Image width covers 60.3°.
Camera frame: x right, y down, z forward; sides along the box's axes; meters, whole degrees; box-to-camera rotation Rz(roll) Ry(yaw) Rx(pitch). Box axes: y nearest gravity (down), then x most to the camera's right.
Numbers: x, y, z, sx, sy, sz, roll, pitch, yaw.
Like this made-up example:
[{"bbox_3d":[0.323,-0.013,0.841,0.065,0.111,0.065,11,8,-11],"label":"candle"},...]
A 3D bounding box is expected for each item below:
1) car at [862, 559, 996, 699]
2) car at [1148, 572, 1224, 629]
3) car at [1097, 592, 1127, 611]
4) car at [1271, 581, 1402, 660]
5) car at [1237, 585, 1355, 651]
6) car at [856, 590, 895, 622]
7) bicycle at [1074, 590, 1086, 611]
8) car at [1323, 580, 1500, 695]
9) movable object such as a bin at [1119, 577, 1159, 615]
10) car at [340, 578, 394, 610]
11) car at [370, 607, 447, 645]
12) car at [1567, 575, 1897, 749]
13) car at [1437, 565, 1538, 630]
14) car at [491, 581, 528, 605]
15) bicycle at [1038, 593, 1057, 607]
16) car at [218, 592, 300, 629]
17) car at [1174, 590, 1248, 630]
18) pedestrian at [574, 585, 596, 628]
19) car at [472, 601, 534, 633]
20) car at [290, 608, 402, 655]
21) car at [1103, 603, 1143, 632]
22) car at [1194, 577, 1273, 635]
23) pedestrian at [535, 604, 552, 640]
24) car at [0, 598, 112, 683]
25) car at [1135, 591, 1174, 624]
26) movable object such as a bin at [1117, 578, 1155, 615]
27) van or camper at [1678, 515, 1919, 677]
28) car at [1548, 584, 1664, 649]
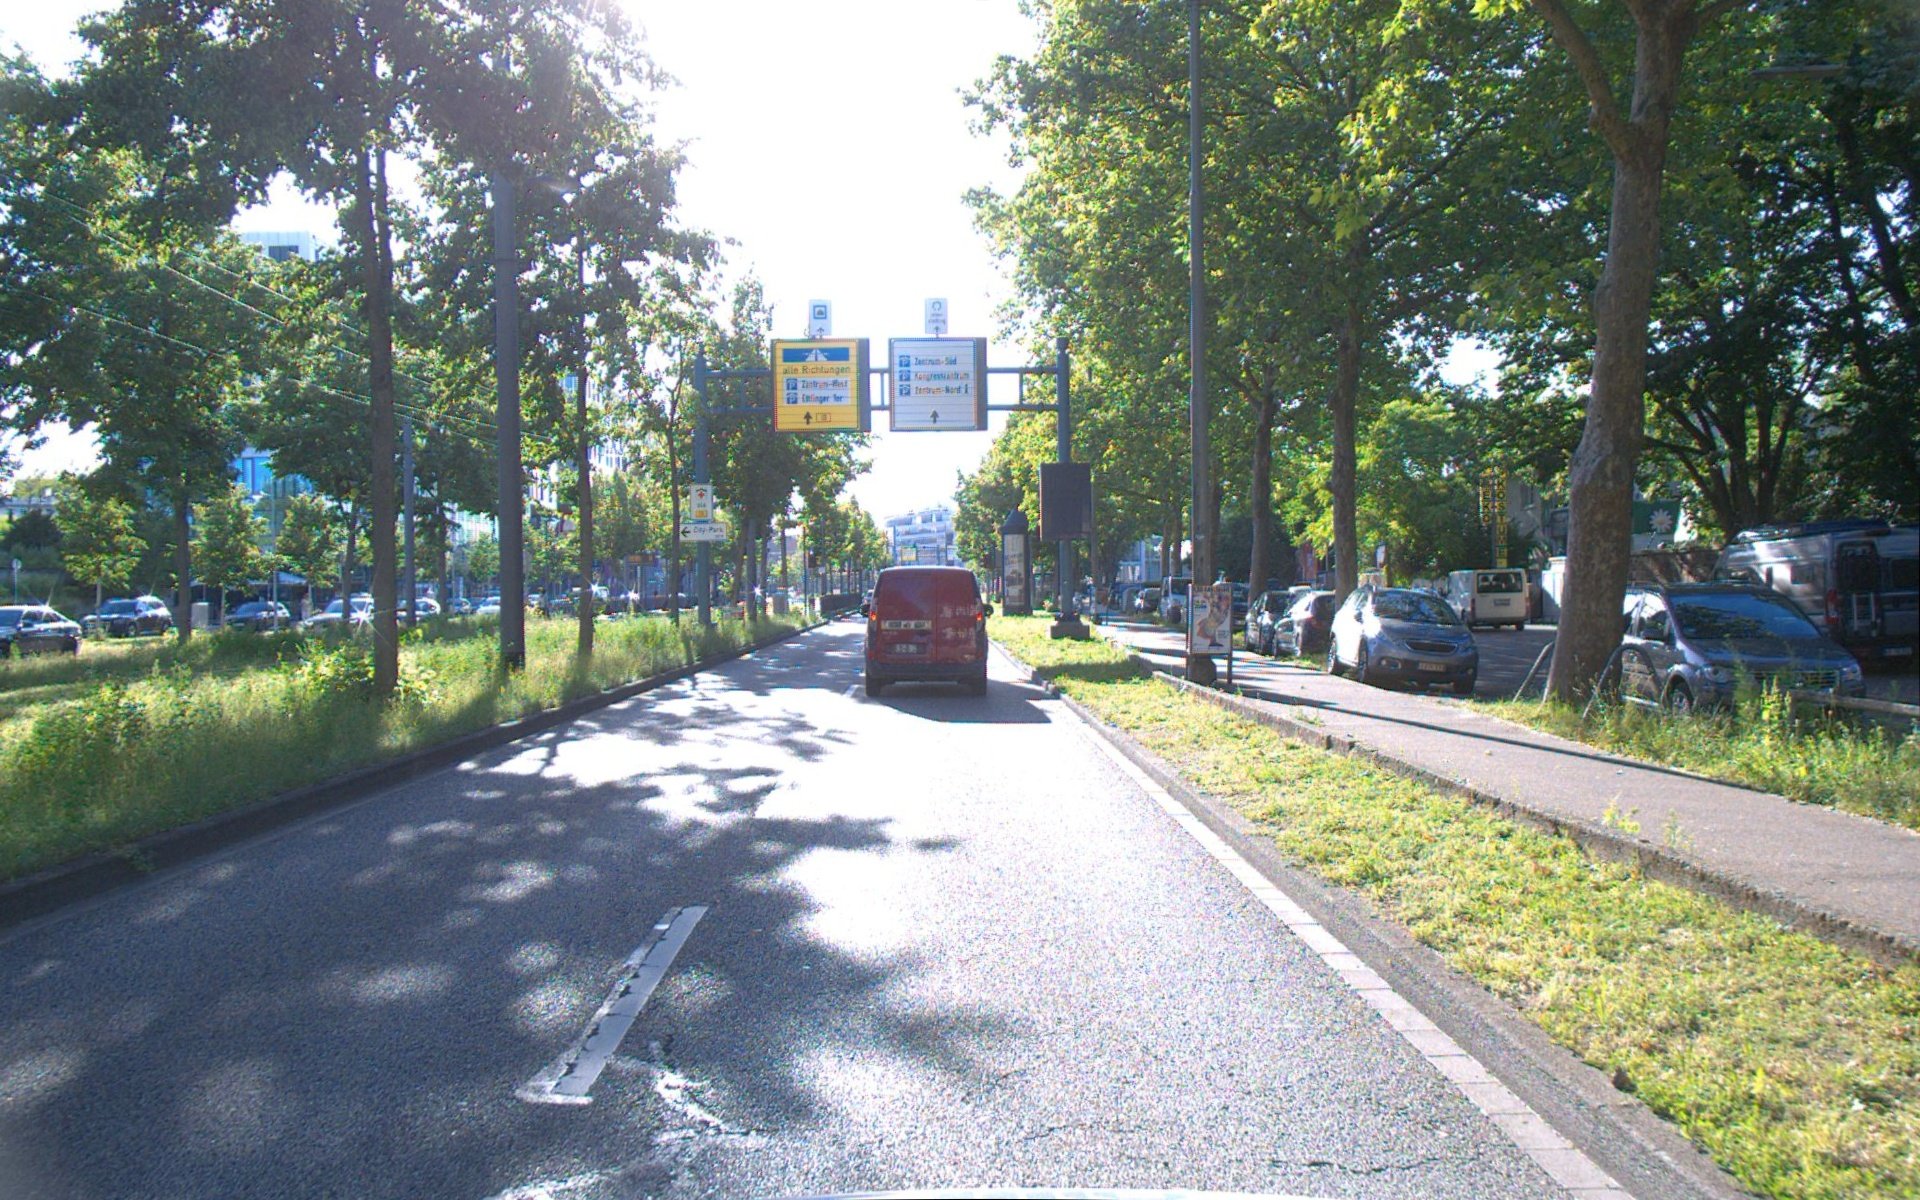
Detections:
[{"bbox_3d":[-0.534,0.406,24.487,1.773,1.870,3.997,1,0,-4],"label":"car"},{"bbox_3d":[8.661,0.035,63.754,2.145,2.049,5.820,1,0,0],"label":"car"},{"bbox_3d":[11.358,0.132,123.967,1.833,1.391,3.999,1,0,-1],"label":"car"},{"bbox_3d":[7.418,0.396,32.929,1.756,1.463,3.884,1,0,1],"label":"car"},{"bbox_3d":[7.829,0.404,38.971,1.952,1.405,4.678,2,0,2],"label":"car"},{"bbox_3d":[-4.585,0.322,90.381,1.953,1.646,3.999,1,0,-1],"label":"car"},{"bbox_3d":[6.182,0.038,85.340,0.483,1.065,1.904,1,0,1],"label":"bicycle"},{"bbox_3d":[7.011,0.554,26.085,1.756,1.587,4.021,3,0,2],"label":"car"},{"bbox_3d":[9.926,-0.232,91.893,2.038,2.049,2.137,1,0,3],"label":"movable object such as a bin"},{"bbox_3d":[-40.444,-0.382,112.876,1.953,2.049,4.563,1,0,0],"label":"car"},{"bbox_3d":[-23.871,1.090,71.706,1.953,1.554,4.318,1,0,-1],"label":"car"},{"bbox_3d":[8.376,0.617,18.441,1.755,1.663,4.628,1,0,4],"label":"car"},{"bbox_3d":[17.417,-0.089,54.878,2.043,2.049,4.945,0,0,4],"label":"car"},{"bbox_3d":[-39.704,-0.564,145.854,1.953,2.049,4.563,1,0,0],"label":"car"},{"bbox_3d":[8.455,0.014,160.014,1.878,1.290,0.479,0,0,0],"label":"bicycle"},{"bbox_3d":[-32.528,0.447,76.873,1.841,1.649,4.611,0,0,0],"label":"car"},{"bbox_3d":[8.683,0.356,57.528,1.952,1.312,4.052,1,0,0],"label":"car"},{"bbox_3d":[-16.503,0.282,72.830,0.804,1.868,0.726,1,-1,-4],"label":"pedestrian"},{"bbox_3d":[-23.913,0.888,86.687,1.952,1.599,4.167,-1,0,2],"label":"car"},{"bbox_3d":[-20.303,1.015,54.909,1.952,1.466,4.456,1,0,1],"label":"car"},{"bbox_3d":[8.364,0.902,85.207,1.957,1.408,4.747,1,0,5],"label":"car"},{"bbox_3d":[8.259,0.179,50.242,1.701,1.670,4.352,1,0,0],"label":"car"},{"bbox_3d":[-17.941,0.954,71.284,0.538,1.545,0.589,1,-1,4],"label":"pedestrian"},{"bbox_3d":[-22.489,0.908,39.396,1.953,1.873,5.249,0,0,-1],"label":"car"},{"bbox_3d":[9.550,0.372,81.198,1.627,1.527,2.989,1,0,2],"label":"car"},{"bbox_3d":[10.047,-0.206,94.658,2.038,2.049,2.137,1,0,3],"label":"movable object such as a bin"},{"bbox_3d":[16.401,-0.117,31.913,2.503,2.731,6.568,-3,0,4],"label":"van or camper"},{"bbox_3d":[16.351,0.395,42.053,1.655,1.498,3.760,-3,0,4],"label":"car"}]
